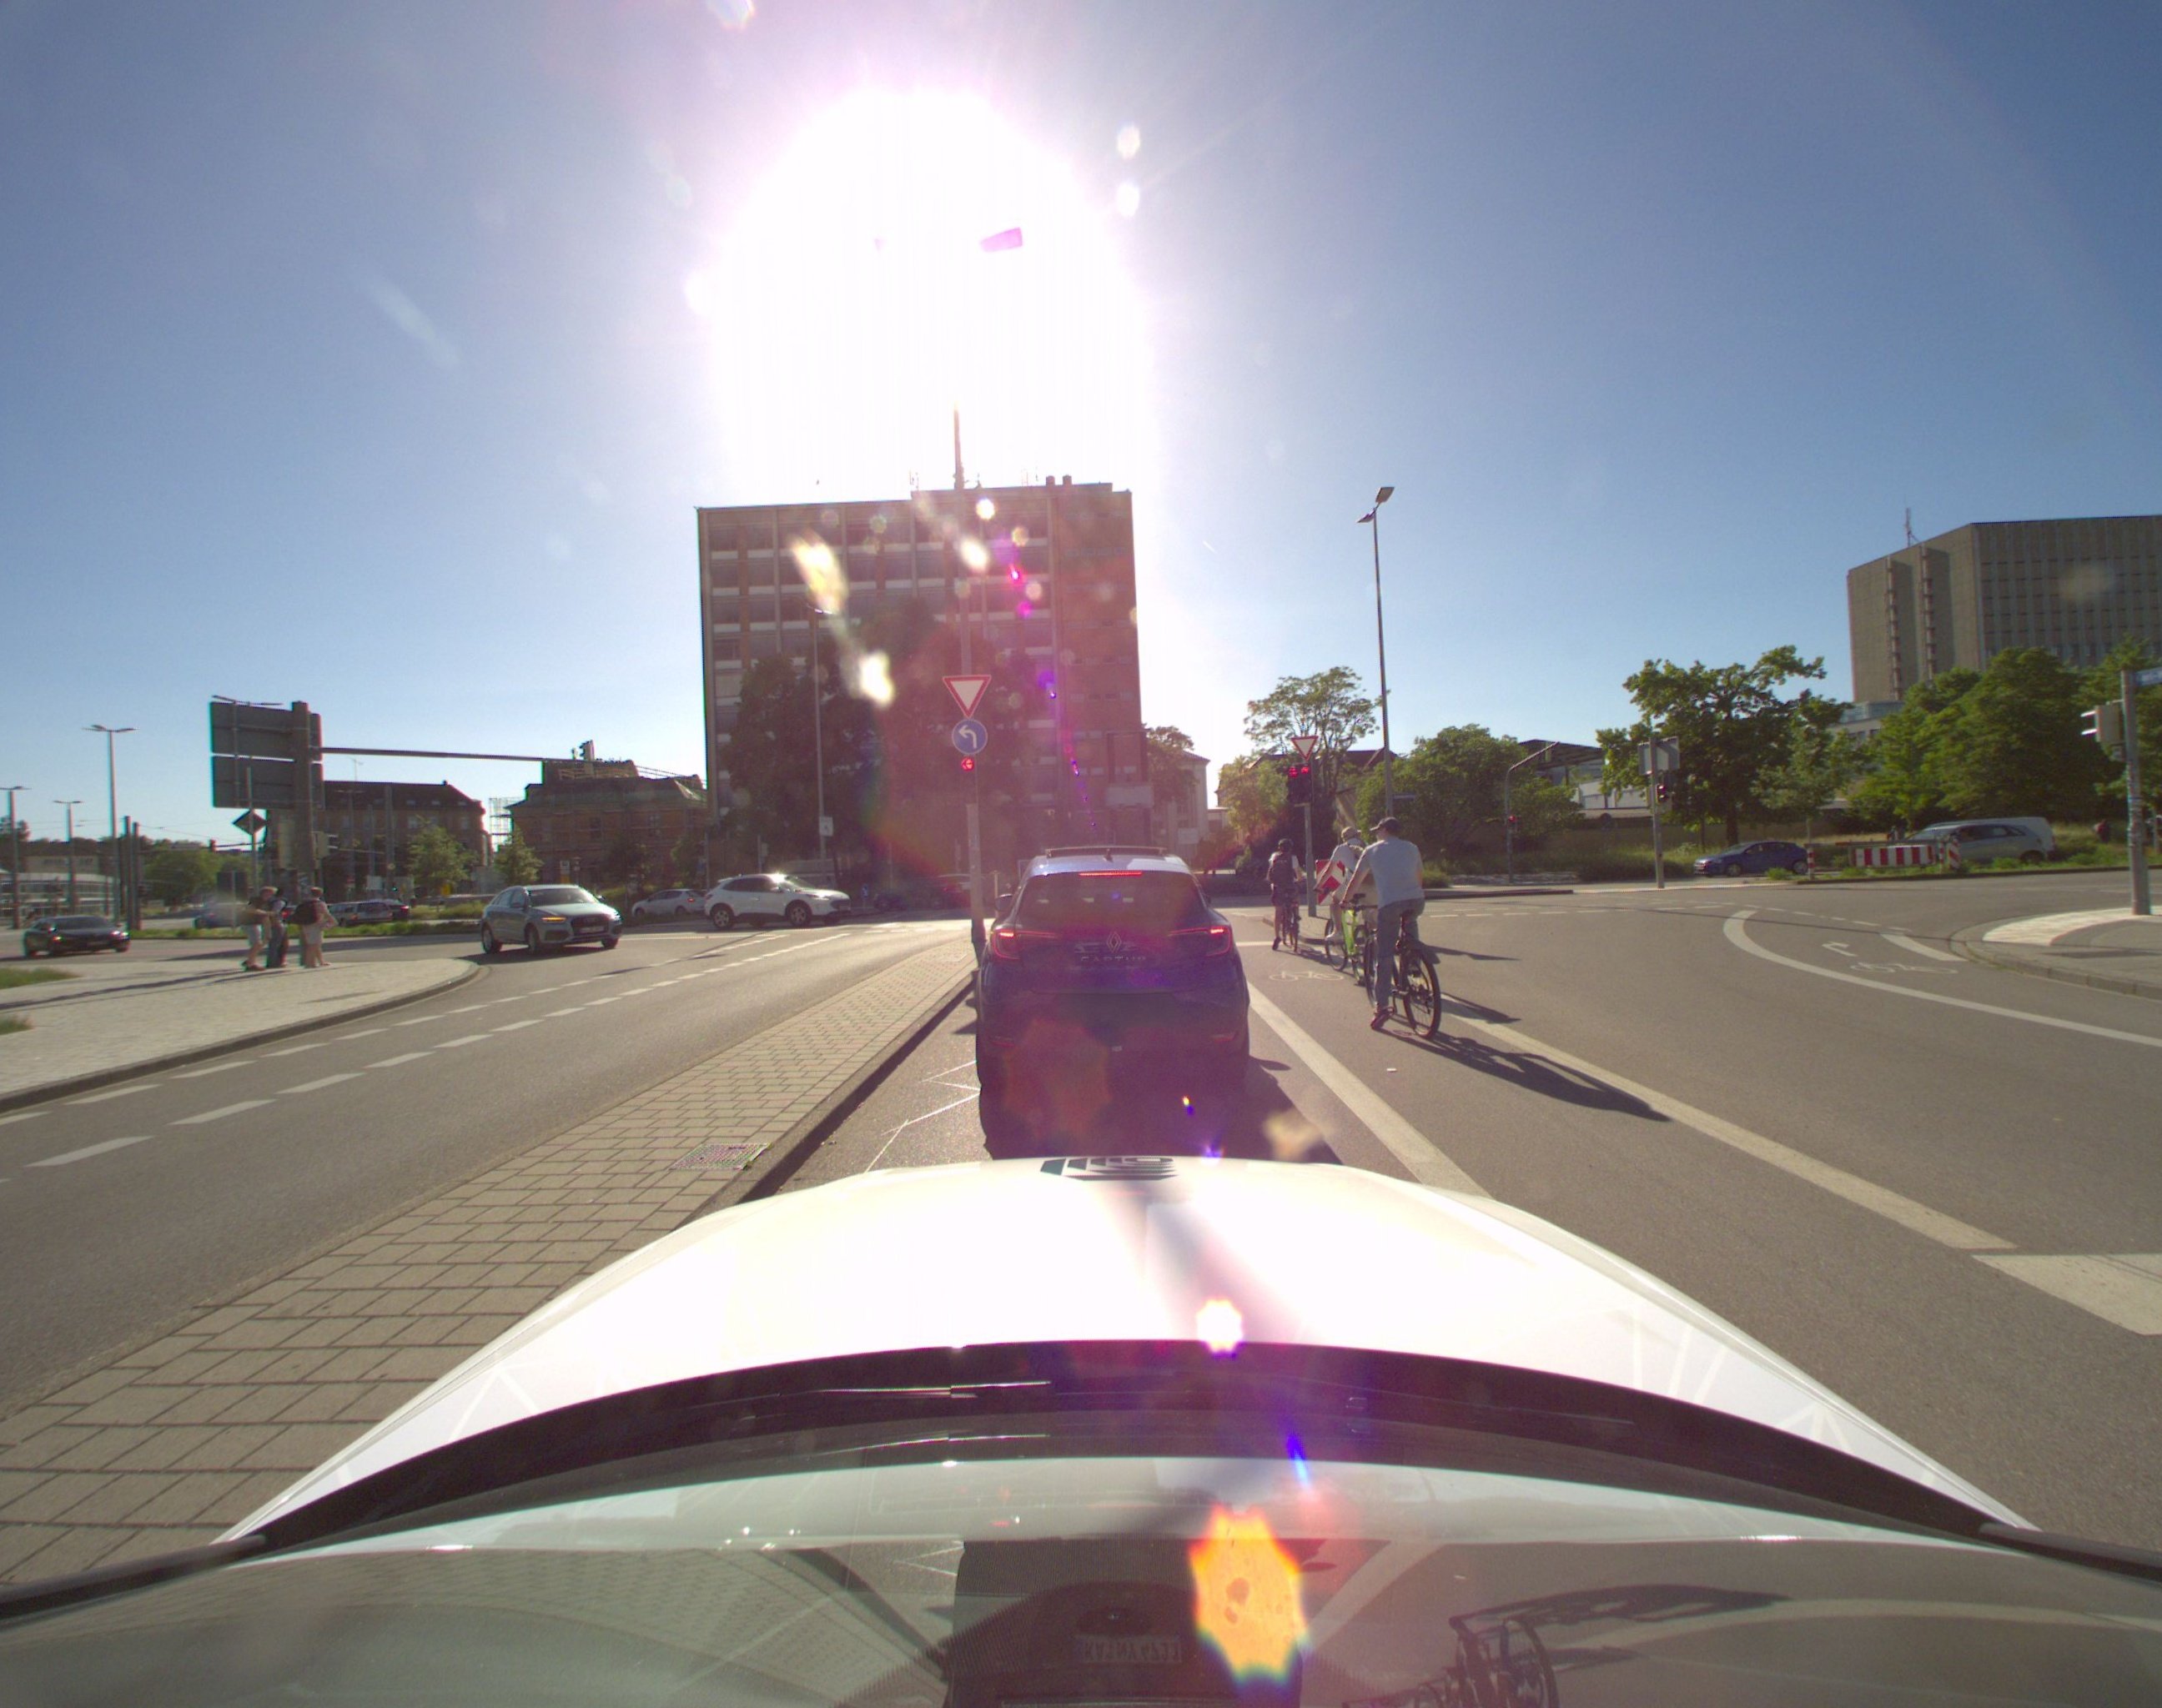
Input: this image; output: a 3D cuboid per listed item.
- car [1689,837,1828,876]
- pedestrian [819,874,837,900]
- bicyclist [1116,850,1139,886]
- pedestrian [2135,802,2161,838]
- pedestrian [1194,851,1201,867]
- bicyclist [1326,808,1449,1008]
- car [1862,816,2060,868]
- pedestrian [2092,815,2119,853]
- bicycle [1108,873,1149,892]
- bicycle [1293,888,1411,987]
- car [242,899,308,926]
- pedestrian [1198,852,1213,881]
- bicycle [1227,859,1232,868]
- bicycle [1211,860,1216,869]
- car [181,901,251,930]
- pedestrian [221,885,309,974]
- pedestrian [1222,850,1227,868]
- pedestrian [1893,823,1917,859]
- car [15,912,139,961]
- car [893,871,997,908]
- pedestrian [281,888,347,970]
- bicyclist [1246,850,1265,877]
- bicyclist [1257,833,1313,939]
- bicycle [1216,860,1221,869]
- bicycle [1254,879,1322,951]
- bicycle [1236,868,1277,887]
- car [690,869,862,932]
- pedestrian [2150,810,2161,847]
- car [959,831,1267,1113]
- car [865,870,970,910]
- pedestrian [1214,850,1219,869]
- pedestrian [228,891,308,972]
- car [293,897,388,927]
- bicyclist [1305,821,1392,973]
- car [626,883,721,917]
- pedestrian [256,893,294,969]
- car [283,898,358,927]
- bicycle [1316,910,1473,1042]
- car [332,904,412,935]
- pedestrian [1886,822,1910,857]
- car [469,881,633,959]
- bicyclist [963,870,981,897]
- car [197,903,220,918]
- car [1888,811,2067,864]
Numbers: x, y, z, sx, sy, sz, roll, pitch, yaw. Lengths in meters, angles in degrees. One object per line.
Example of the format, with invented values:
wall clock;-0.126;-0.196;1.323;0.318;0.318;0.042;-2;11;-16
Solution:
car;28.211;0.099;34.010;4.142;1.435;1.746;-2;-1;6
pedestrian;-16.249;2.097;52.296;0.853;1.571;0.562;-5;-1;18
bicyclist;2.521;0.770;44.122;1.094;1.867;0.655;-3;1;12
pedestrian;52.104;-1.656;39.743;0.559;1.695;0.528;-3;-1;5
pedestrian;13.162;0.573;92.110;0.621;1.856;0.563;-2;-1;3
bicyclist;2.707;0.456;7.298;0.748;1.668;1.017;0;-1;3
car;28.134;-0.361;26.169;4.025;1.408;1.872;-2;-1;8
pedestrian;49.826;-0.965;39.618;0.559;1.778;0.528;-2;-1;5
bicycle;2.594;1.543;44.088;2.067;0.930;0.698;-3;1;12
bicycle;3.209;0.953;9.854;0.657;1.003;1.967;0;-1;-4
car;-53.822;3.921;54.375;4.331;1.632;1.855;-3;-1;27
pedestrian;6.950;0.695;45.405;0.732;1.603;0.601;-3;-1;14
bicycle;17.180;1.072;94.175;0.403;0.973;1.686;0;-1;6
bicycle;15.250;1.228;93.883;0.403;0.973;1.686;0;-1;6
car;-55.102;3.872;51.876;4.332;1.632;1.855;-1;0;27
pedestrian;-17.607;1.599;17.589;0.697;1.800;1.108;-5;-3;20
pedestrian;16.206;0.601;92.185;0.473;2.014;0.469;-2;-1;8
pedestrian;39.962;-0.614;39.490;0.559;1.695;0.528;-3;-1;5
car;-38.180;3.125;30.946;4.725;1.505;1.830;-4;0;25
car;-6.836;1.771;41.060;4.787;1.632;1.852;-2;-1;16
pedestrian;-16.700;1.618;17.745;0.785;1.690;0.794;-6;-3;28
bicyclist;9.345;0.503;43.613;0.930;1.429;0.600;-3;-1;10
bicyclist;3.233;0.499;12.989;0.722;1.629;0.970;0;-1;6
bicycle;15.868;1.223;93.824;0.403;0.973;1.686;0;-1;6
bicycle;3.242;0.926;12.936;0.735;0.995;2.177;0;-1;6
bicycle;9.380;1.258;43.562;2.062;0.964;0.600;-3;-1;12
car;-9.361;1.435;25.064;4.652;1.619;1.851;-4;-3;14
pedestrian;52.006;-1.247;39.087;0.559;1.778;0.528;-2;-1;5
car;0.198;0.707;6.804;1.798;1.632;3.999;-1;0;0
car;-7.609;1.672;37.921;4.339;1.632;1.852;-2;-1;17
pedestrian;15.079;0.599;90.872;0.473;2.014;0.524;-2;-1;8
pedestrian;-18.090;1.700;18.137;0.900;1.690;0.839;-4;-3;-3
car;-40.283;3.163;44.290;4.842;1.388;1.854;-3;-1;22
bicyclist;3.210;0.493;9.852;0.644;1.739;1.065;0;-1;-4
car;-19.431;2.183;38.857;3.807;1.435;1.750;-2;-1;16
pedestrian;-19.217;1.819;19.417;0.600;1.729;0.572;-2;-1;-45
car;-48.055;3.679;51.457;4.334;1.632;1.854;-3;-1;23
bicycle;2.715;1.016;7.298;0.737;0.896;1.980;0;-1;3
car;-42.569;3.920;48.896;4.334;1.632;1.854;-3;-1;23
pedestrian;40.550;-0.704;40.433;0.559;1.695;0.528;-3;-1;5
car;-12.788;1.575;19.571;4.202;1.581;1.805;-4;0;35
bicyclist;-5.896;1.595;44.055;0.741;1.441;0.593;-2;-1;-25
car;-133.647;8.638;124.712;3.948;2.013;2.013;-3;-1;38
car;36.893;-0.649;33.649;4.853;2.107;2.004;0;-1;7
